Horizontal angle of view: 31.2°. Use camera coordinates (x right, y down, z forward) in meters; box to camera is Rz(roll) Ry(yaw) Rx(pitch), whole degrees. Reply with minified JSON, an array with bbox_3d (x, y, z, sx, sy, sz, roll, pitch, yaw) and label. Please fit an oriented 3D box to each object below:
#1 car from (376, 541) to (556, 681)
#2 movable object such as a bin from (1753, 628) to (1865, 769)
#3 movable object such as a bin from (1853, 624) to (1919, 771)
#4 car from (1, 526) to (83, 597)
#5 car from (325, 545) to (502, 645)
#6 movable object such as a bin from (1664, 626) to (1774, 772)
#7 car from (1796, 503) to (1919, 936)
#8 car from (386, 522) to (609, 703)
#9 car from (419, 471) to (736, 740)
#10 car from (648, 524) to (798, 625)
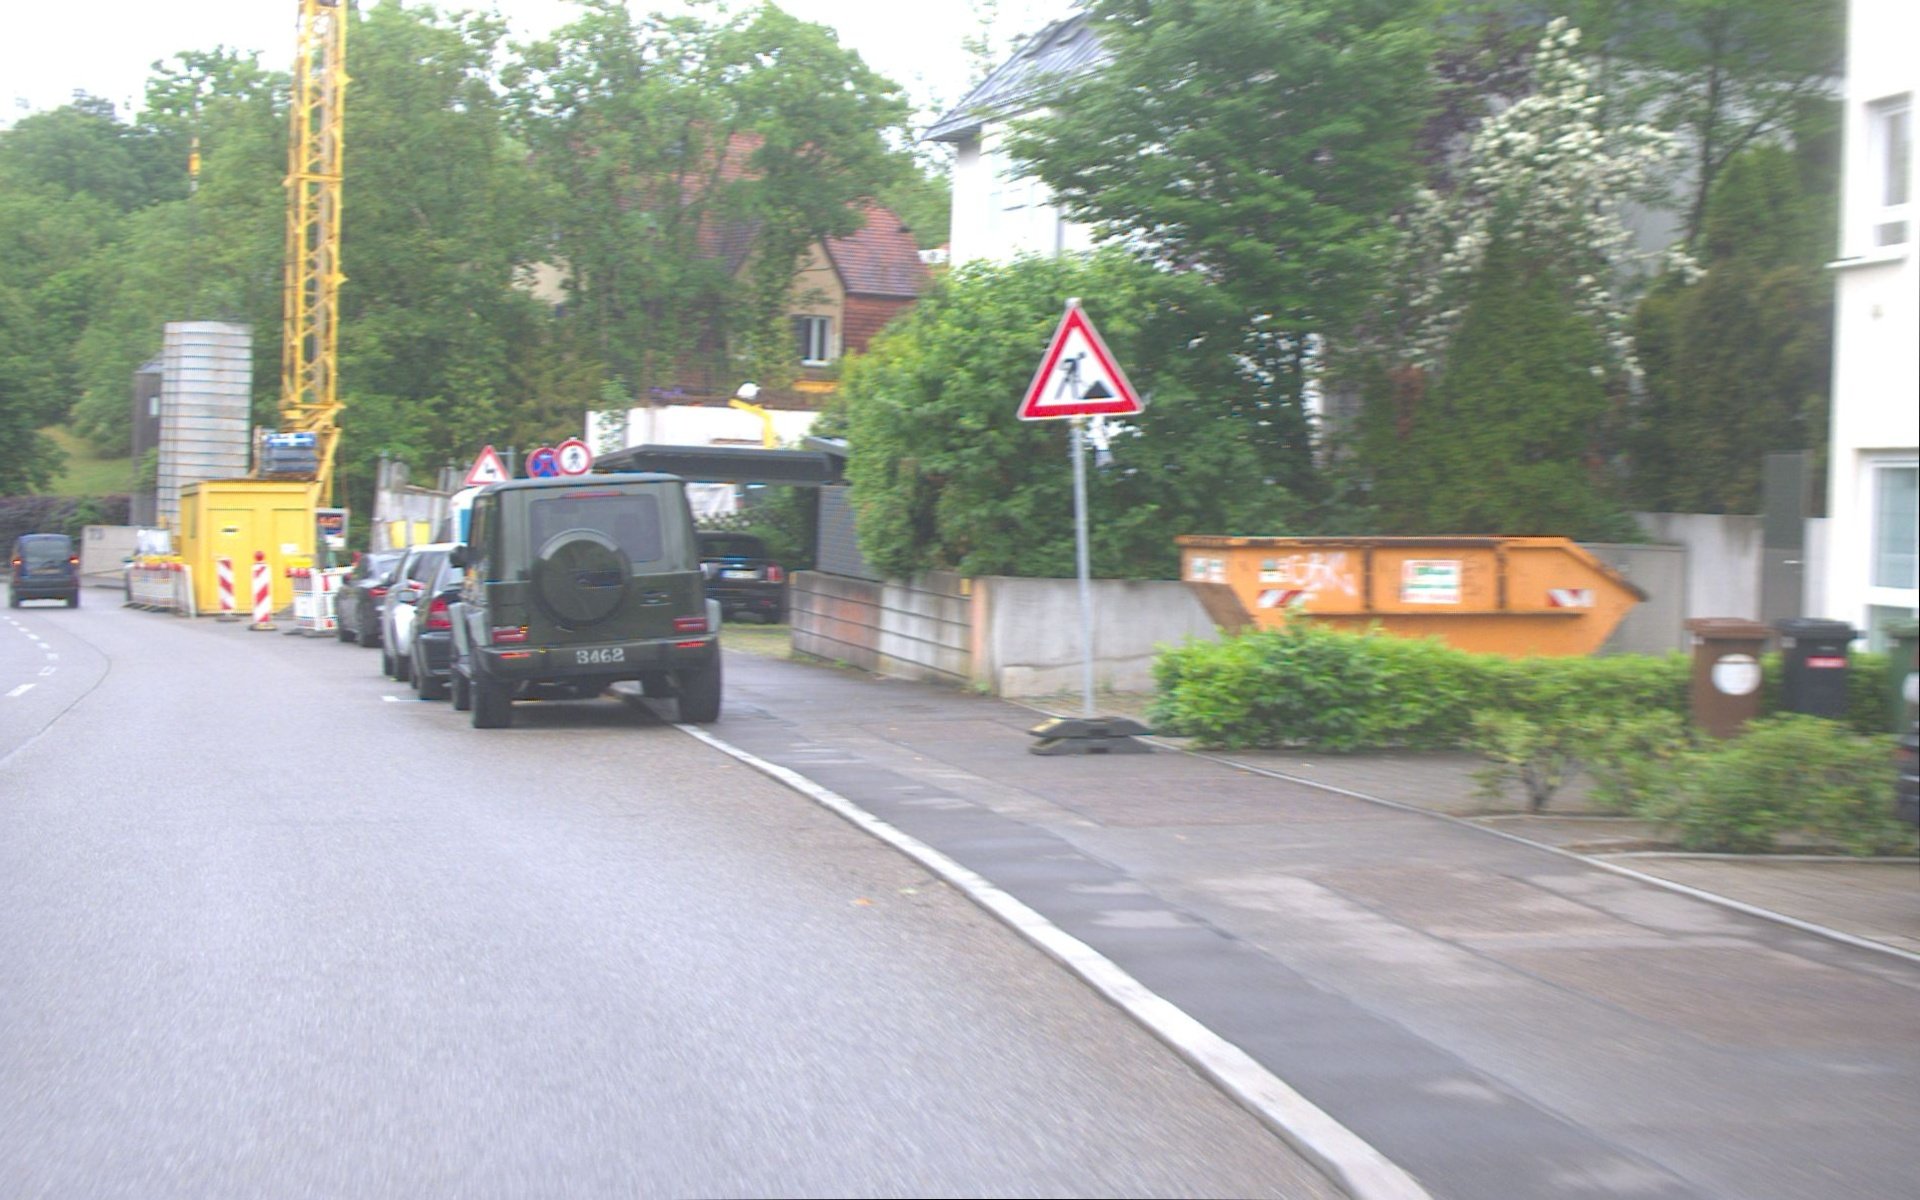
[{"bbox_3d":[-5.452,0.088,37.664,1.672,1.452,3.387,0,1,-13],"label":"car"},{"bbox_3d":[5.643,0.647,22.870,0.506,0.908,0.595,0,1,-12],"label":"movable object such as a bin"},{"bbox_3d":[6.364,0.647,23.051,0.506,0.952,0.595,0,1,-12],"label":"movable object such as a bin"},{"bbox_3d":[-23.171,-0.989,86.685,1.931,1.745,4.001,0,1,-16],"label":"car"},{"bbox_3d":[-8.246,-0.105,51.520,1.931,1.417,4.839,0,1,-17],"label":"car"},{"bbox_3d":[5.030,0.652,22.810,0.506,0.938,0.595,0,1,-12],"label":"movable object such as a bin"},{"bbox_3d":[5.661,0.563,13.025,4.326,1.590,1.993,4,0,-10],"label":"car"},{"bbox_3d":[-4.579,0.088,33.565,1.931,1.590,4.396,-2,1,-10],"label":"car"},{"bbox_3d":[-3.287,0.001,28.651,1.993,2.007,4.958,-1,1,-13],"label":"car"},{"bbox_3d":[-3.865,-0.426,55.542,1.694,1.467,4.001,4,0,-13],"label":"car"}]
